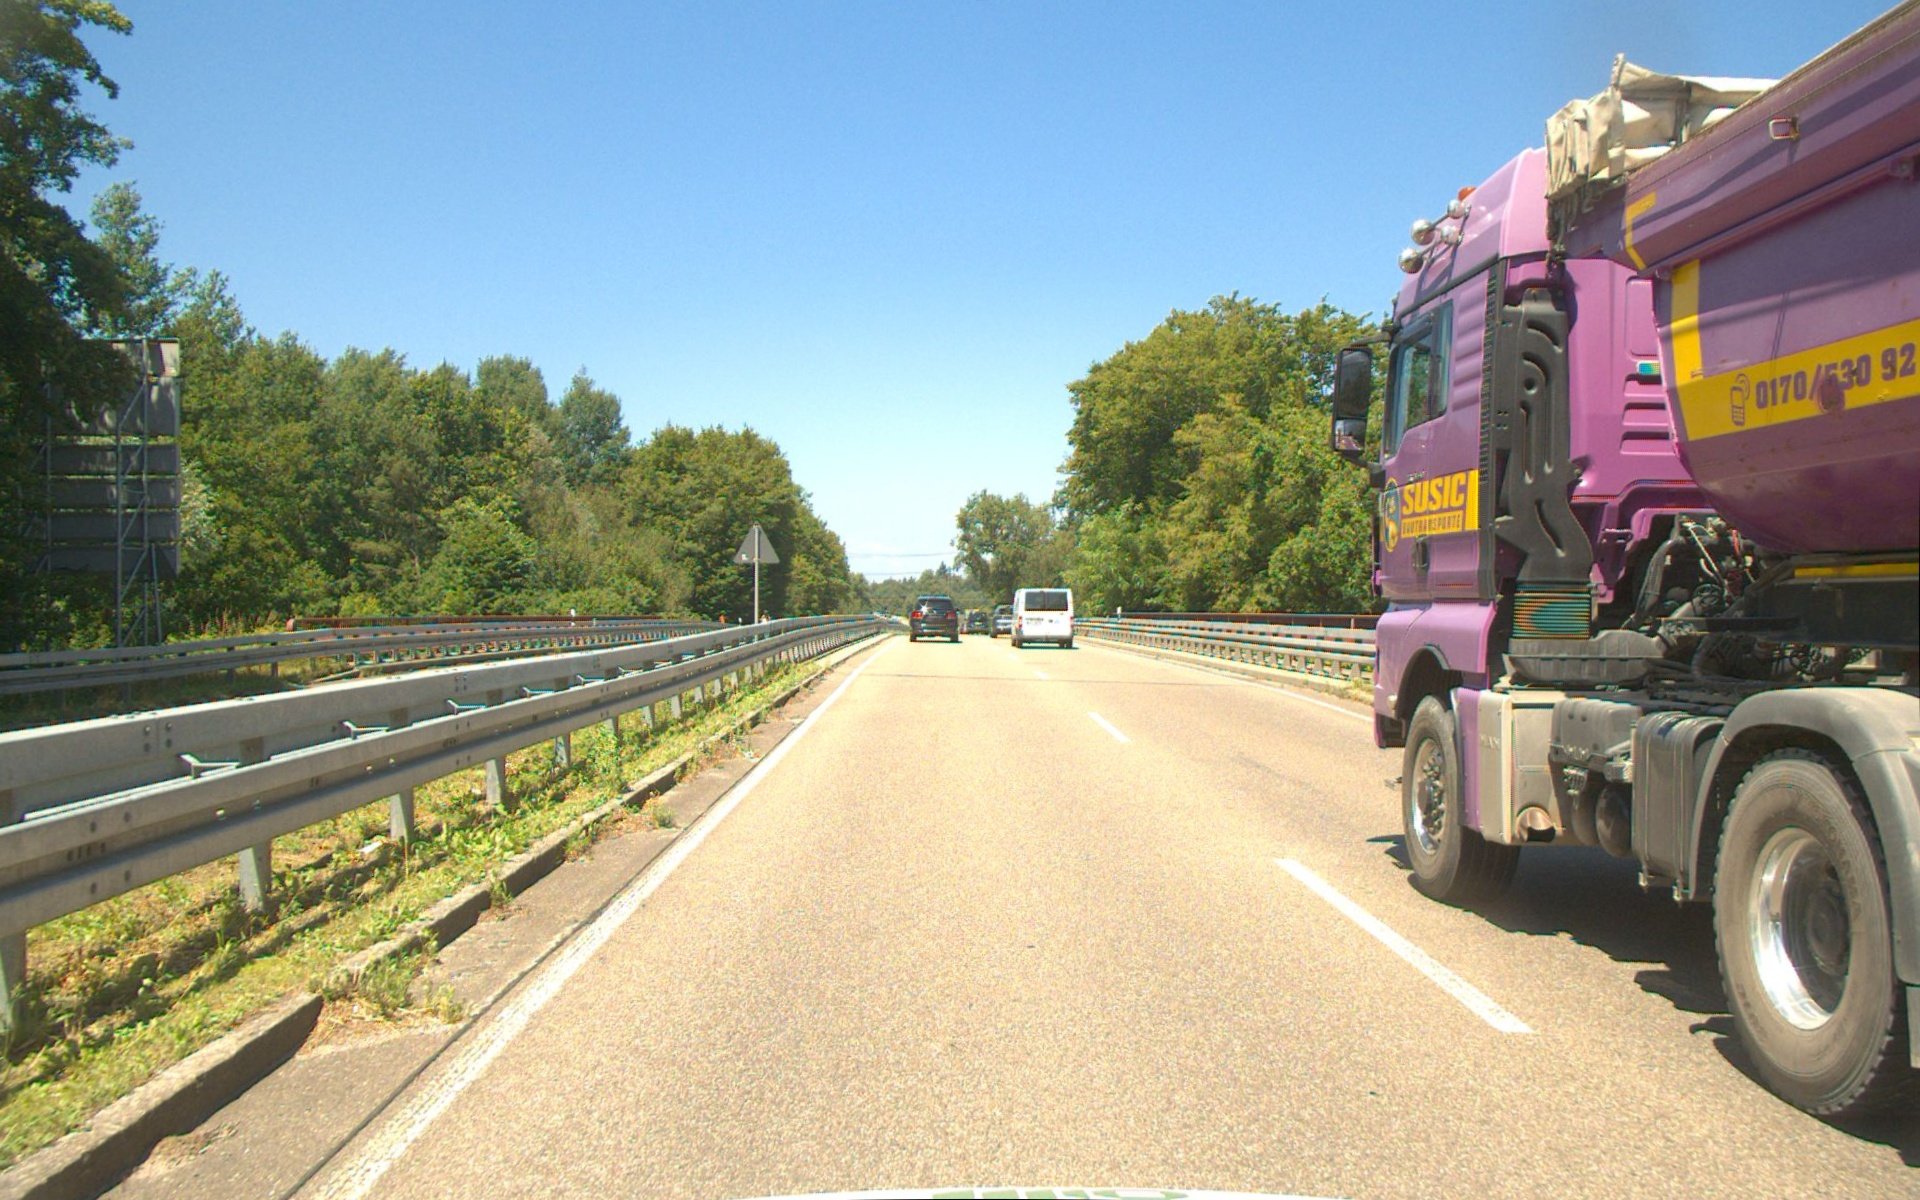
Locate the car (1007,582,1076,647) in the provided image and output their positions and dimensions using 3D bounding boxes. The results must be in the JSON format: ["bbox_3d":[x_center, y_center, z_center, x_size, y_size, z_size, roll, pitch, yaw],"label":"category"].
[{"bbox_3d":[2.741,0.474,56.719,1.954,2.113,3.998,-1,0,-3],"label":"car"}]

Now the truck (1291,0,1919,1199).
[{"bbox_3d":[3.676,-0.413,4.588,2.665,3.999,12.365,0,0,-2],"label":"truck"}]

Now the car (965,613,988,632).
[{"bbox_3d":[1.306,1.779,130.310,1.571,1.445,3.520,-1,0,-3],"label":"car"}]

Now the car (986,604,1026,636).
[{"bbox_3d":[2.150,0.920,77.963,1.571,1.445,3.520,-1,0,-3],"label":"car"}]

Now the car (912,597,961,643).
[{"bbox_3d":[-0.943,0.810,64.648,1.820,1.701,3.998,1,-2,-2],"label":"car"}]
